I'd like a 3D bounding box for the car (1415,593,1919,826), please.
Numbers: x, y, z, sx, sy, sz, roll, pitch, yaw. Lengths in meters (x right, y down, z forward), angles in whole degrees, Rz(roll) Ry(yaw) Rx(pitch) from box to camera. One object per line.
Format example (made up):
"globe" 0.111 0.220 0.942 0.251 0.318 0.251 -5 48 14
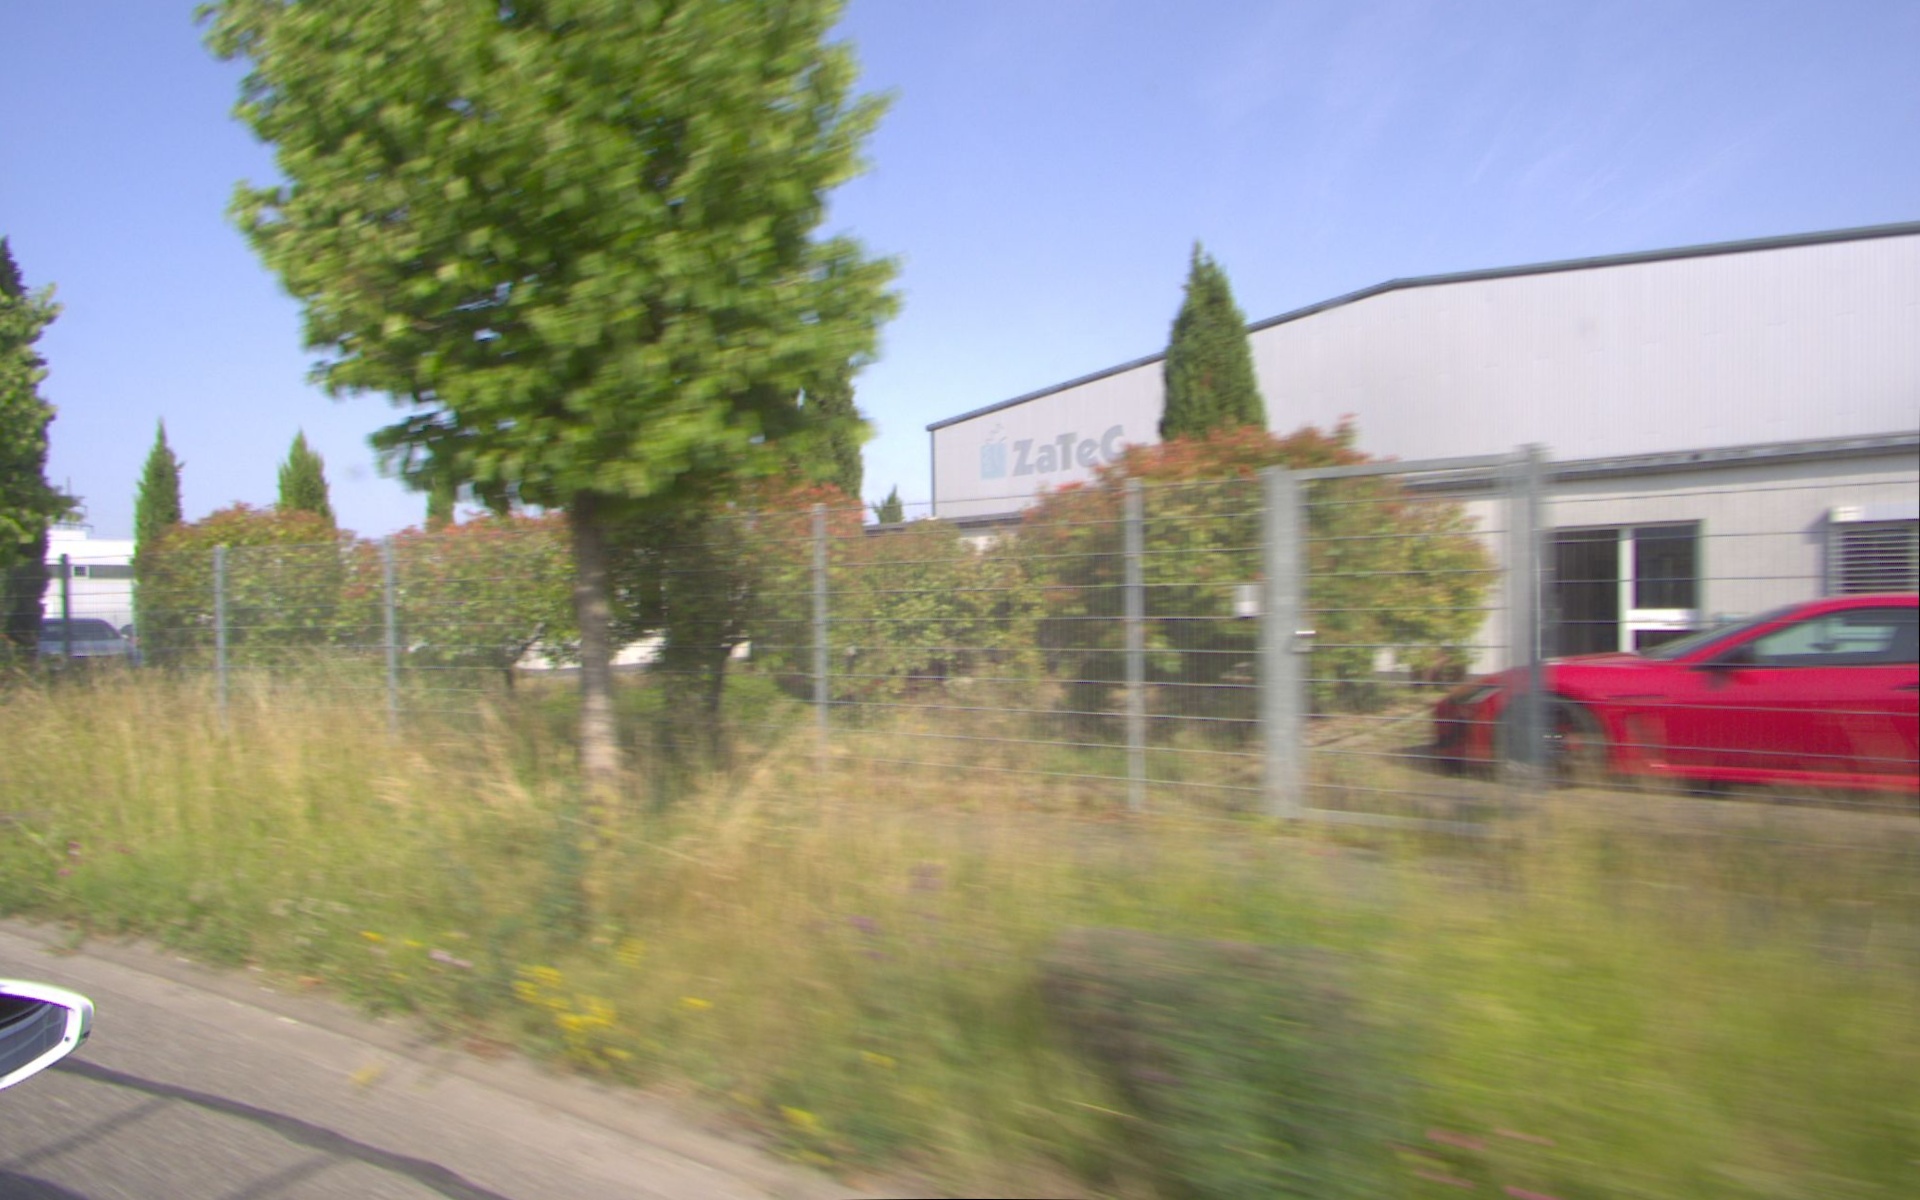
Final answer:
"car" 5.885 0.648 6.936 4.712 1.376 1.874 0 0 37

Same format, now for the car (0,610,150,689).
"car" -20.397 1.084 23.033 3.946 1.664 1.718 0 -1 35

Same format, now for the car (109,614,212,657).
"car" -27.955 1.228 34.987 3.945 1.397 1.706 -1 -2 34
